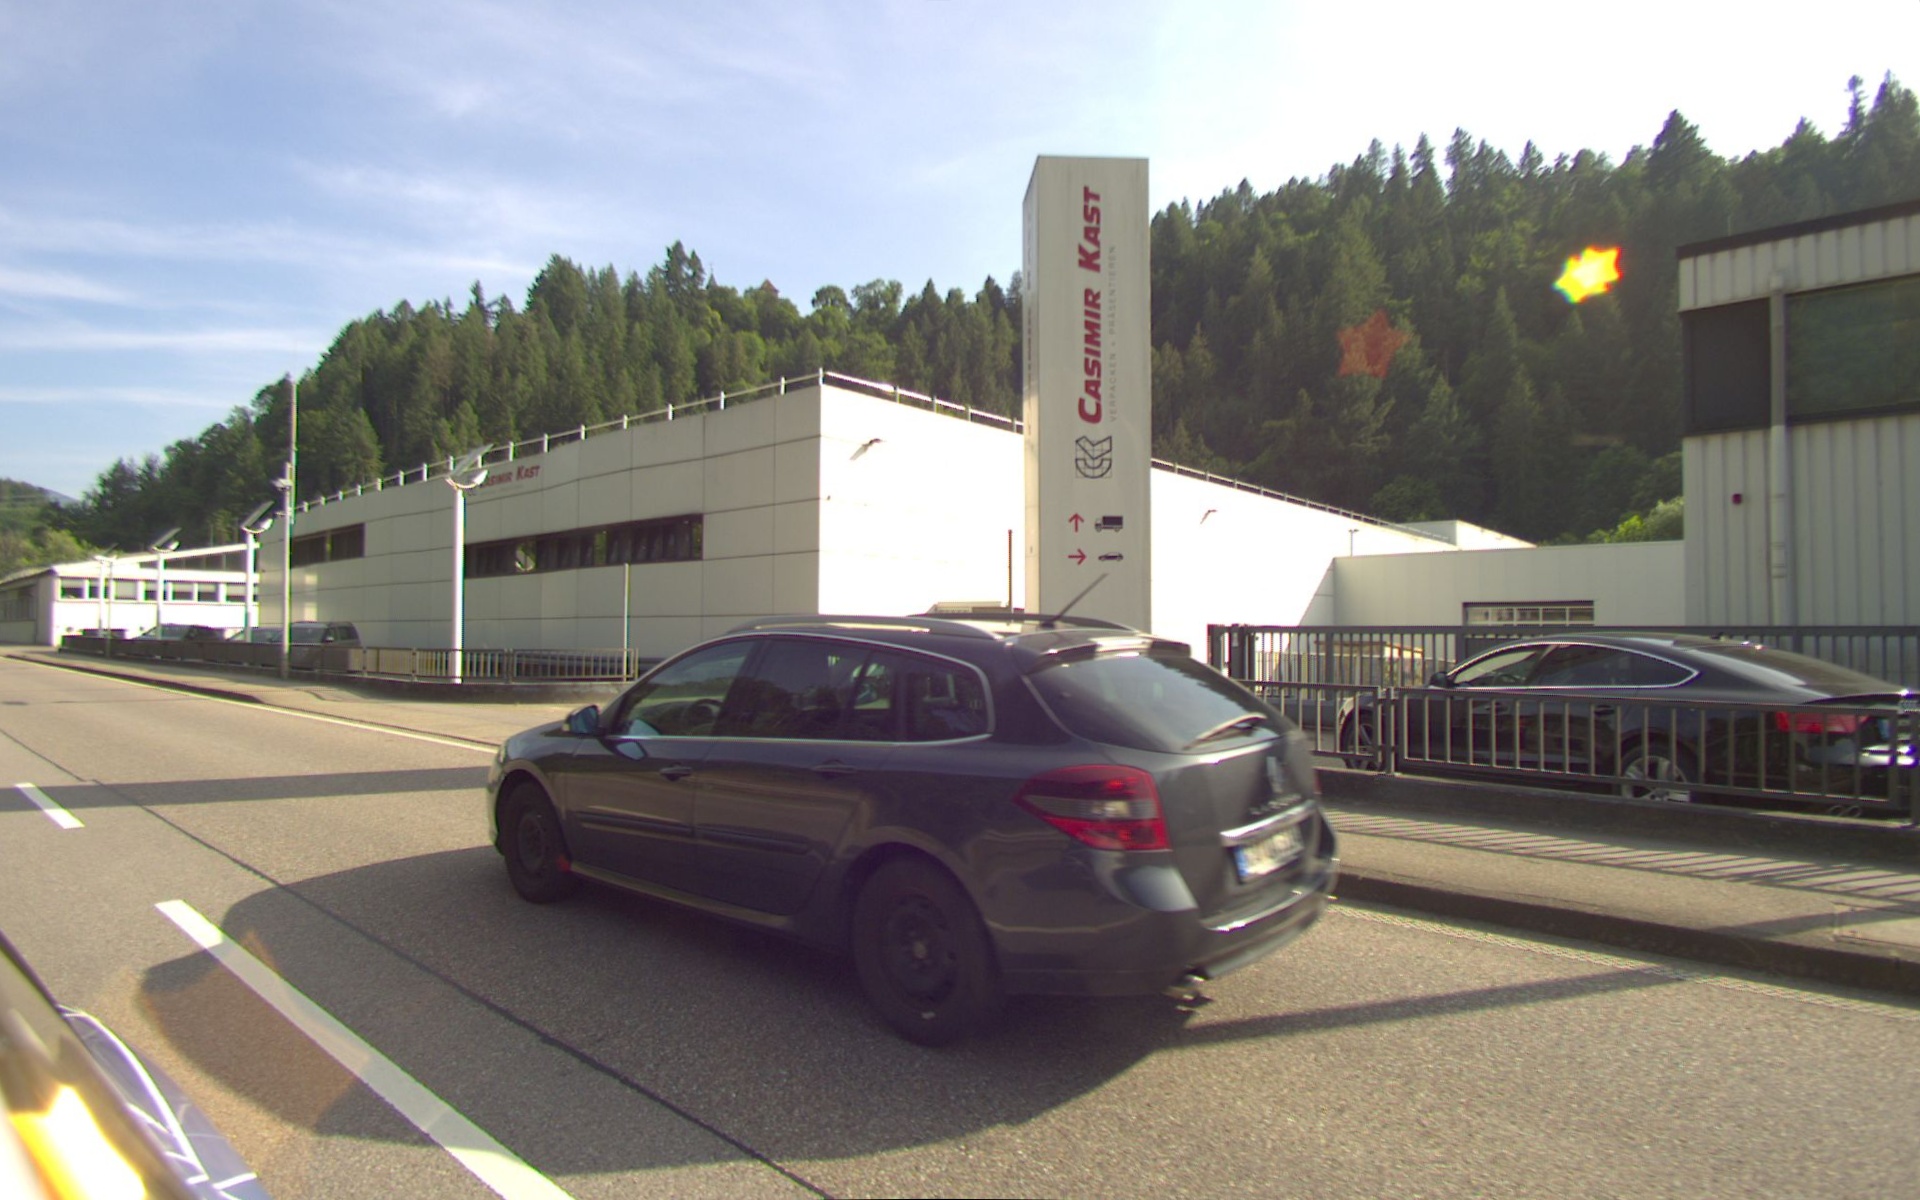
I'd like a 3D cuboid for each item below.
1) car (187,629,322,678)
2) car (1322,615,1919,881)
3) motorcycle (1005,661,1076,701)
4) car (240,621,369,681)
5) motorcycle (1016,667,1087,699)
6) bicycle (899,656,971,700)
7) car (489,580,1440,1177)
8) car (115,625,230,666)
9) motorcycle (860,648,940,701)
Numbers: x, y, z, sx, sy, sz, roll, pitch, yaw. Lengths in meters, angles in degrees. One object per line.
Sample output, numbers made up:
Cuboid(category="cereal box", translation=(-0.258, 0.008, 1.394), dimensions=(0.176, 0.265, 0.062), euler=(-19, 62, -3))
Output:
Cuboid(category="car", translation=(-23.639, 1.762, 34.152), dimensions=(1.859, 1.506, 4.496), euler=(0, -1, -7))
Cuboid(category="car", translation=(5.056, 0.855, 7.776), dimensions=(1.683, 1.386, 4.749), euler=(1, -2, -19))
Cuboid(category="motorcycle", translation=(2.084, 2.090, 26.310), dimensions=(1.927, 0.939, 0.508), euler=(-2, -3, 42))
Cuboid(category="car", translation=(-20.341, 1.535, 31.624), dimensions=(1.754, 1.721, 4.117), euler=(0, -1, -7))
Cuboid(category="motorcycle", translation=(2.407, 2.196, 26.821), dimensions=(1.977, 0.766, 0.486), euler=(-2, -3, 42))
Cuboid(category="bicycle", translation=(-0.612, 1.867, 24.463), dimensions=(1.910, 0.998, 0.507), euler=(-2, -4, 42))
Cuboid(category="car", translation=(-0.343, 0.727, 4.575), dimensions=(4.244, 1.496, 1.660), euler=(-1, 0, 41))
Cuboid(category="car", translation=(-32.235, 1.818, 41.595), dimensions=(1.859, 1.604, 4.182), euler=(0, -1, -7))
Cuboid(category="motorcycle", translation=(-1.405, 1.708, 23.441), dimensions=(2.088, 1.161, 0.507), euler=(-2, -4, 42))
